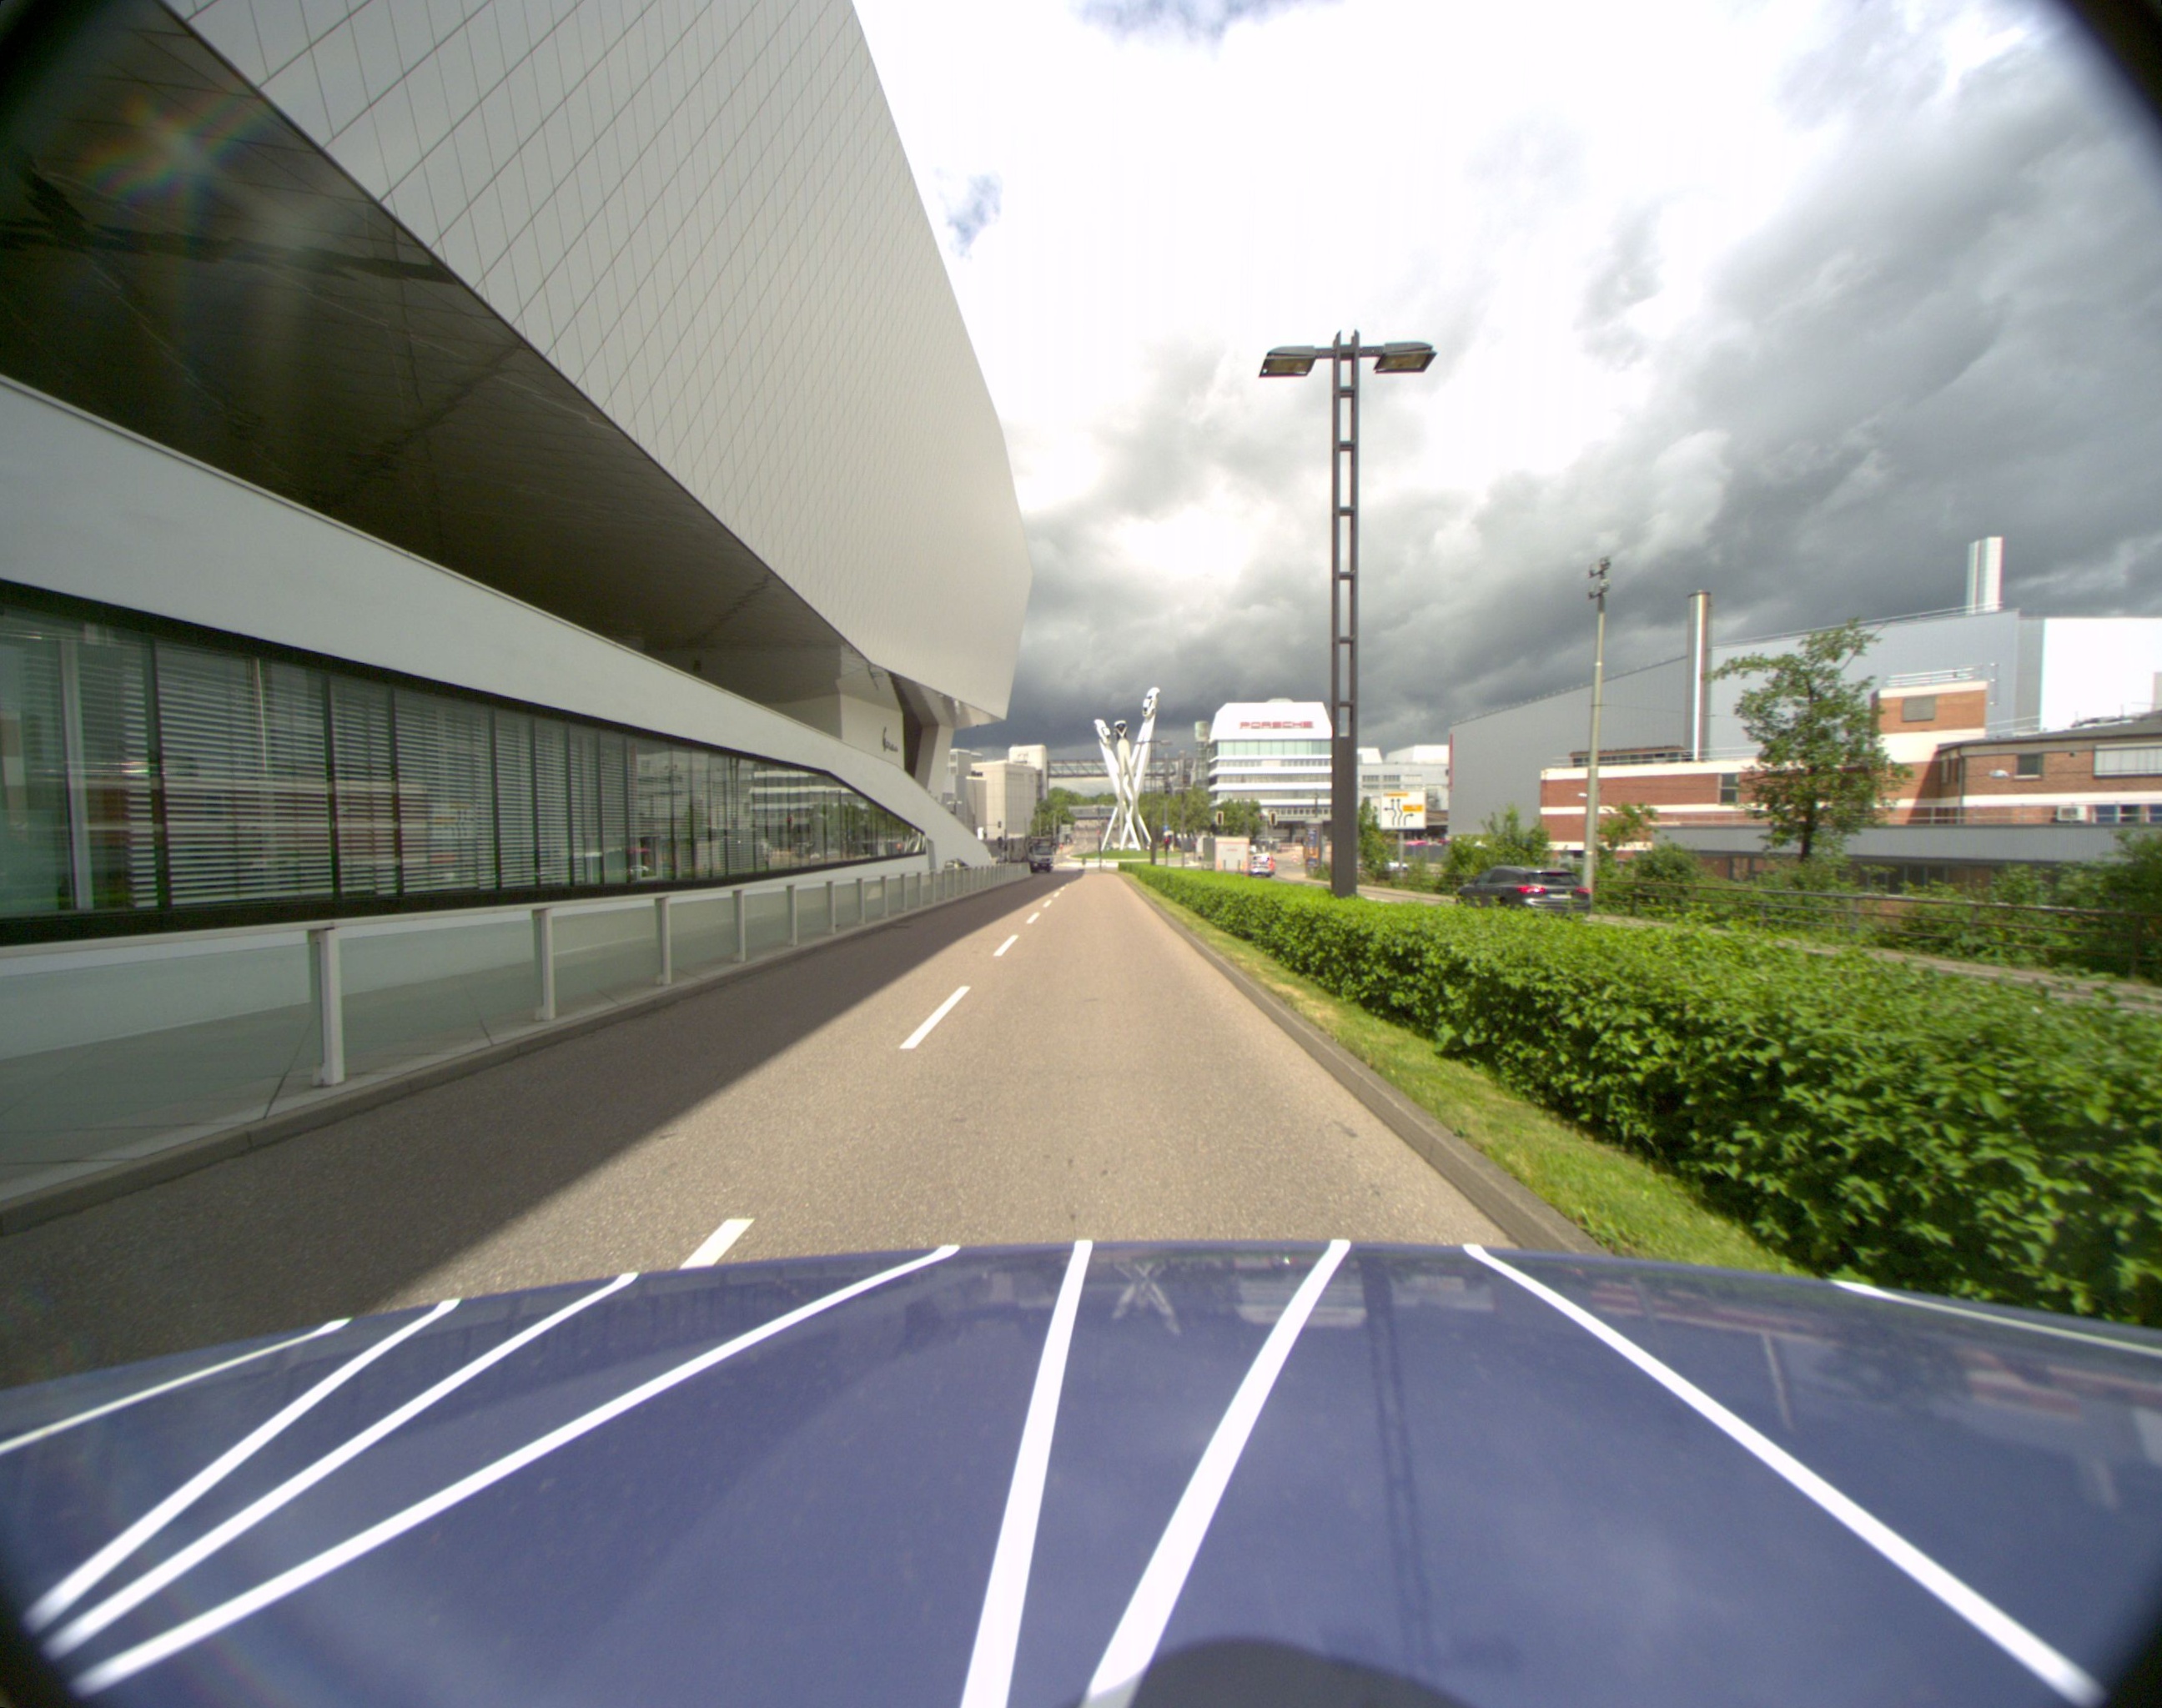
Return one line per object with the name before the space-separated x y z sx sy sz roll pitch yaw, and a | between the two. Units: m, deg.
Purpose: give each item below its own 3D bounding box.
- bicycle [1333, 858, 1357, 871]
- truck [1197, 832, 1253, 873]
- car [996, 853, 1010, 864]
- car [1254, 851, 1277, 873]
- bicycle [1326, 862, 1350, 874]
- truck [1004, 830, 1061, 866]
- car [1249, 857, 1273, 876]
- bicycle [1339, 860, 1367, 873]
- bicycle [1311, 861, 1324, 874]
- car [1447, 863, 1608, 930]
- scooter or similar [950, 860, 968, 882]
bicycle | 21.307 0.860 61.313 1.952 0.983 0.620 0 0 -23
truck | 10.915 0.008 58.418 2.862 2.840 9.380 0 -1 2
car | -12.274 0.718 119.869 1.832 1.555 3.998 -1 1 -3
car | 17.109 0.725 70.617 1.996 1.946 4.632 -1 1 13
bicycle | 20.939 1.114 61.969 1.952 0.983 0.620 0 0 -23
truck | -5.505 -0.673 83.240 2.848 3.669 10.731 -1 1 -22
car | 15.112 1.001 64.003 1.799 1.414 4.496 1 1 12
bicycle | 21.549 0.987 60.201 1.950 0.983 0.621 0 0 -8
bicycle | 17.547 1.007 56.416 0.520 0.983 1.951 0 0 7
car | 11.563 1.024 20.088 1.844 1.499 4.562 0 0 4
scooter or similar | -7.289 1.009 45.536 0.708 1.236 1.952 -1 1 1
